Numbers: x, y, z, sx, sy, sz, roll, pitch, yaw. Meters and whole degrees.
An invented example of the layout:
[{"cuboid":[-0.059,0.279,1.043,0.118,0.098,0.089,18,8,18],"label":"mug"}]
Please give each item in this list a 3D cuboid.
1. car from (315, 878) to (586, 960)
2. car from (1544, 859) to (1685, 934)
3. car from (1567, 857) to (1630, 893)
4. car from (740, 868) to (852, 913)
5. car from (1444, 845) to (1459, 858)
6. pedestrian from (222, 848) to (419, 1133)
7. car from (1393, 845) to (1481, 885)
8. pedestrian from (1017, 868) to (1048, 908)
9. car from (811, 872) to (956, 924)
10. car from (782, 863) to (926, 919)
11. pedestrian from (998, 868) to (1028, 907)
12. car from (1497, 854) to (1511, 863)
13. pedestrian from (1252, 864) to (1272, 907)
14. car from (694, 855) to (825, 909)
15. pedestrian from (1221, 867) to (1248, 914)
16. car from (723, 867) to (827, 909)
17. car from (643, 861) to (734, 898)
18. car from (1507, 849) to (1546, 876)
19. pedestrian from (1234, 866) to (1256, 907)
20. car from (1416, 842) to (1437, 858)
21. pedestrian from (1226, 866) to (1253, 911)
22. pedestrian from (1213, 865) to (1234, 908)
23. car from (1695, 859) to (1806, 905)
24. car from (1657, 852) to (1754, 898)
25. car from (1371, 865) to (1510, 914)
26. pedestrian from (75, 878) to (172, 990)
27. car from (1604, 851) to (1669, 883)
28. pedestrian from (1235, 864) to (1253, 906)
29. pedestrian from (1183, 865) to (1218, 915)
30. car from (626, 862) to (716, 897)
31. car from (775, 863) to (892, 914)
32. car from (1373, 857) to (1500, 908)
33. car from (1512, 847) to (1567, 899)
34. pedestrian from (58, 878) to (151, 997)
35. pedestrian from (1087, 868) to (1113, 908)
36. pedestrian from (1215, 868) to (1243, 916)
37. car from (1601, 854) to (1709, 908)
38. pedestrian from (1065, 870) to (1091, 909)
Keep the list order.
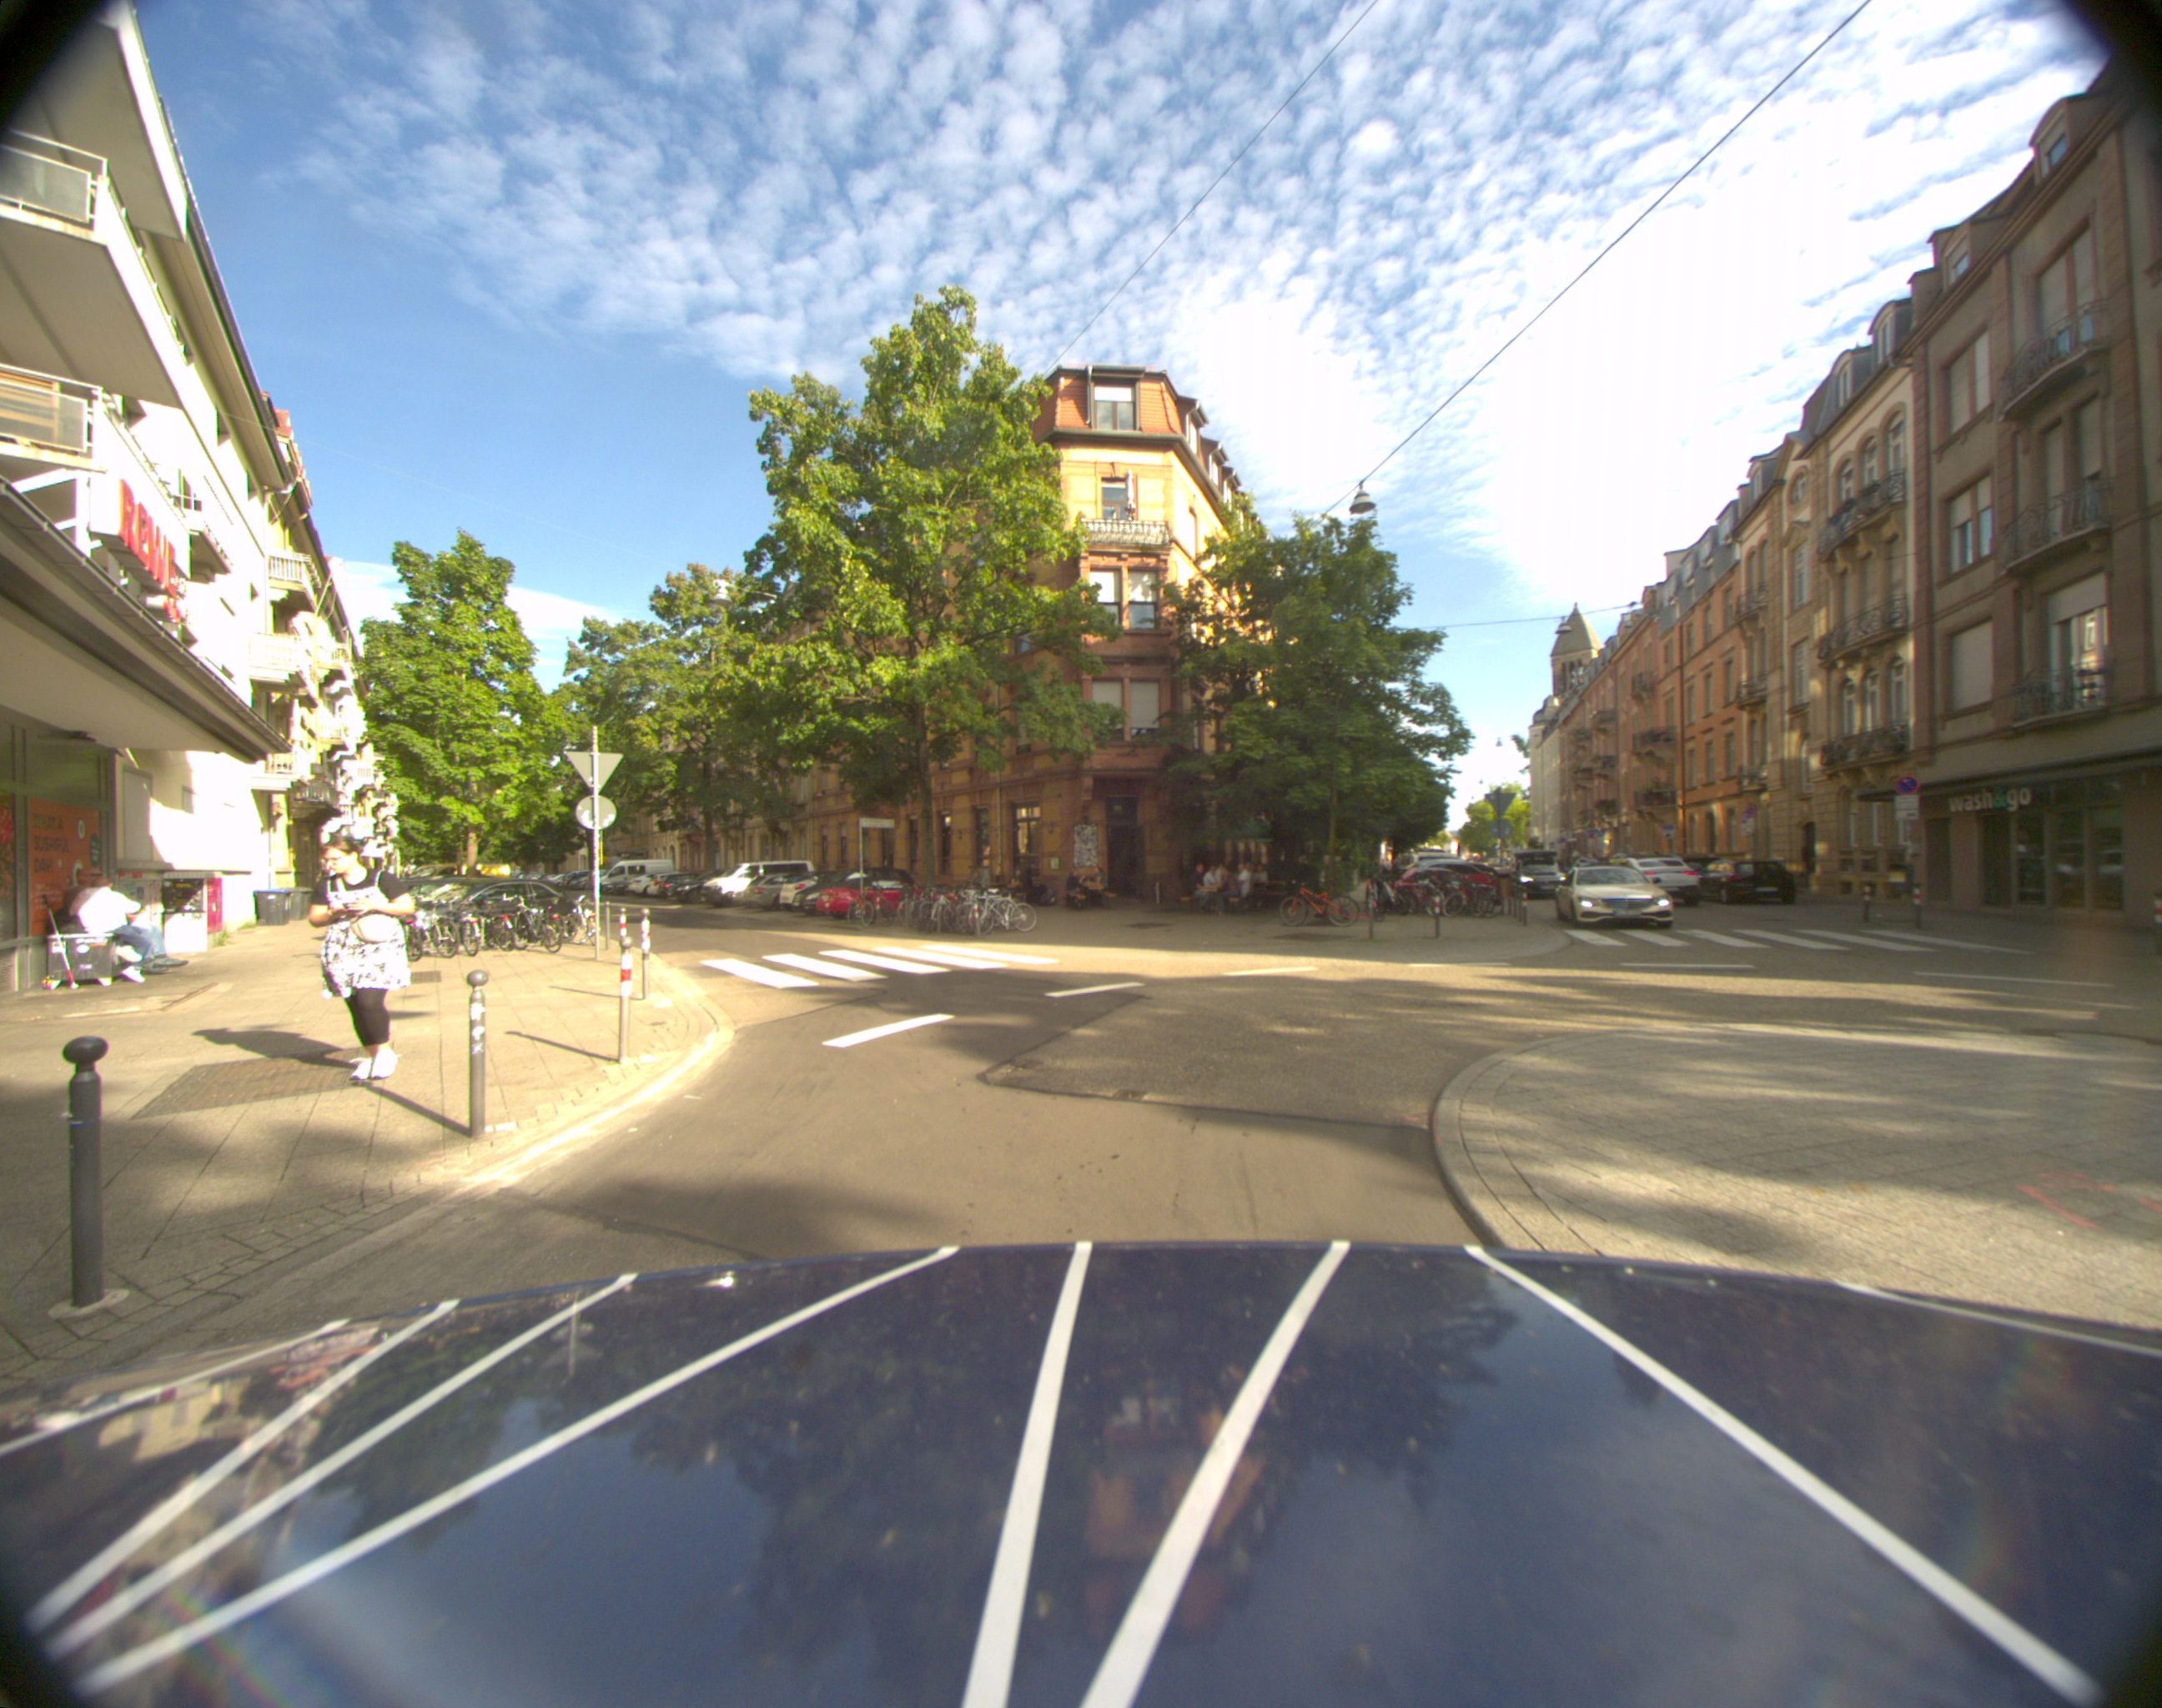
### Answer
[{"cuboid":[-13.094,1.261,16.028,1.805,1.446,4.009,0,-1,34],"label":"car"},{"cuboid":[12.938,0.954,18.768,1.940,1.588,4.844,-2,-1,24],"label":"car"},{"cuboid":[22.875,0.903,33.749,1.766,1.373,4.460,-4,-1,28],"label":"car"},{"cuboid":[-11.212,1.401,29.963,3.714,1.449,1.666,-4,1,-38],"label":"car"},{"cuboid":[59.161,-0.419,121.230,1.995,1.877,4.008,-2,-1,28],"label":"car"},{"cuboid":[-5.084,0.839,5.143,0.614,1.743,0.841,-1,0,-18],"label":"pedestrian"},{"cuboid":[23.087,0.715,49.361,4.738,2.408,1.999,-2,-1,-7],"label":"car"},{"cuboid":[-1.647,1.136,25.652,0.770,1.277,0.627,-4,2,-41],"label":"pedestrian"},{"cuboid":[-6.167,1.343,24.024,4.120,1.263,1.564,-3,0,-42],"label":"car"},{"cuboid":[-7.828,1.216,26.359,4.319,1.560,2.002,-3,1,-34],"label":"car"},{"cuboid":[-2.348,1.140,26.253,0.770,1.277,0.627,-4,2,-41],"label":"pedestrian"},{"cuboid":[65.505,0.707,117.742,1.622,1.371,3.768,-1,0,26],"label":"car"},{"cuboid":[5.702,0.980,23.960,0.466,1.319,0.622,-1,1,2],"label":"pedestrian"},{"cuboid":[-14.391,1.193,34.182,4.920,1.978,2.041,-4,3,-43],"label":"car"},{"cuboid":[4.339,1.033,21.466,0.728,1.307,0.521,0,0,13],"label":"pedestrian"},{"cuboid":[-12.976,1.411,32.312,3.714,1.449,1.665,-4,2,-38],"label":"car"},{"cuboid":[-23.631,1.500,45.853,4.467,1.823,1.931,-4,3,-43],"label":"car"},{"cuboid":[32.721,0.619,55.901,1.940,1.868,4.845,-2,-1,24],"label":"car"},{"cuboid":[5.085,0.993,23.579,0.548,1.225,0.622,-1,1,1],"label":"pedestrian"},{"cuboid":[41.043,-0.482,90.362,1.847,1.724,4.006,-2,-1,20],"label":"car"},{"cuboid":[4.610,0.991,22.064,0.728,1.307,0.608,0,0,13],"label":"pedestrian"},{"cuboid":[4.444,1.012,23.733,0.548,1.293,0.622,-1,1,1],"label":"pedestrian"},{"cuboid":[21.732,0.870,24.830,1.720,1.360,3.836,-2,-1,26],"label":"car"},{"cuboid":[23.968,0.774,29.335,1.858,1.575,4.406,-2,-1,26],"label":"car"},{"cuboid":[11.072,1.077,23.546,3.585,1.372,1.513,1,0,0],"label":"car"},{"cuboid":[-13.584,1.104,10.805,0.755,1.497,0.666,-1,0,-43],"label":"pedestrian"},{"cuboid":[29.021,0.669,39.821,1.759,1.588,4.349,-1,-1,22],"label":"car"},{"cuboid":[5.260,1.007,24.519,0.466,1.319,0.622,-1,1,2],"label":"pedestrian"},{"cuboid":[3.413,1.007,21.696,0.671,1.371,0.715,-2,1,-30],"label":"pedestrian"},{"cuboid":[-25.522,1.565,47.388,4.467,1.823,1.931,-4,3,-43],"label":"car"},{"cuboid":[-9.272,1.257,28.542,3.715,1.710,1.856,-1,-1,-38],"label":"car"},{"cuboid":[12.058,0.947,25.899,3.584,1.606,1.514,1,0,2],"label":"car"},{"cuboid":[19.224,0.766,31.995,1.789,2.051,4.008,-1,0,28],"label":"car"},{"cuboid":[-13.073,1.085,10.196,0.751,1.497,0.669,-1,0,45],"label":"pedestrian"},{"cuboid":[0.611,1.091,24.836,0.642,1.252,0.510,-3,3,-32],"label":"pedestrian"},{"cuboid":[4.085,1.029,20.995,0.728,1.307,0.521,0,0,13],"label":"pedestrian"},{"cuboid":[19.219,0.858,25.683,1.995,1.624,4.853,-1,-1,26],"label":"car"},{"cuboid":[-0.099,1.132,24.483,0.642,1.218,0.510,-3,3,-32],"label":"pedestrian"}]
